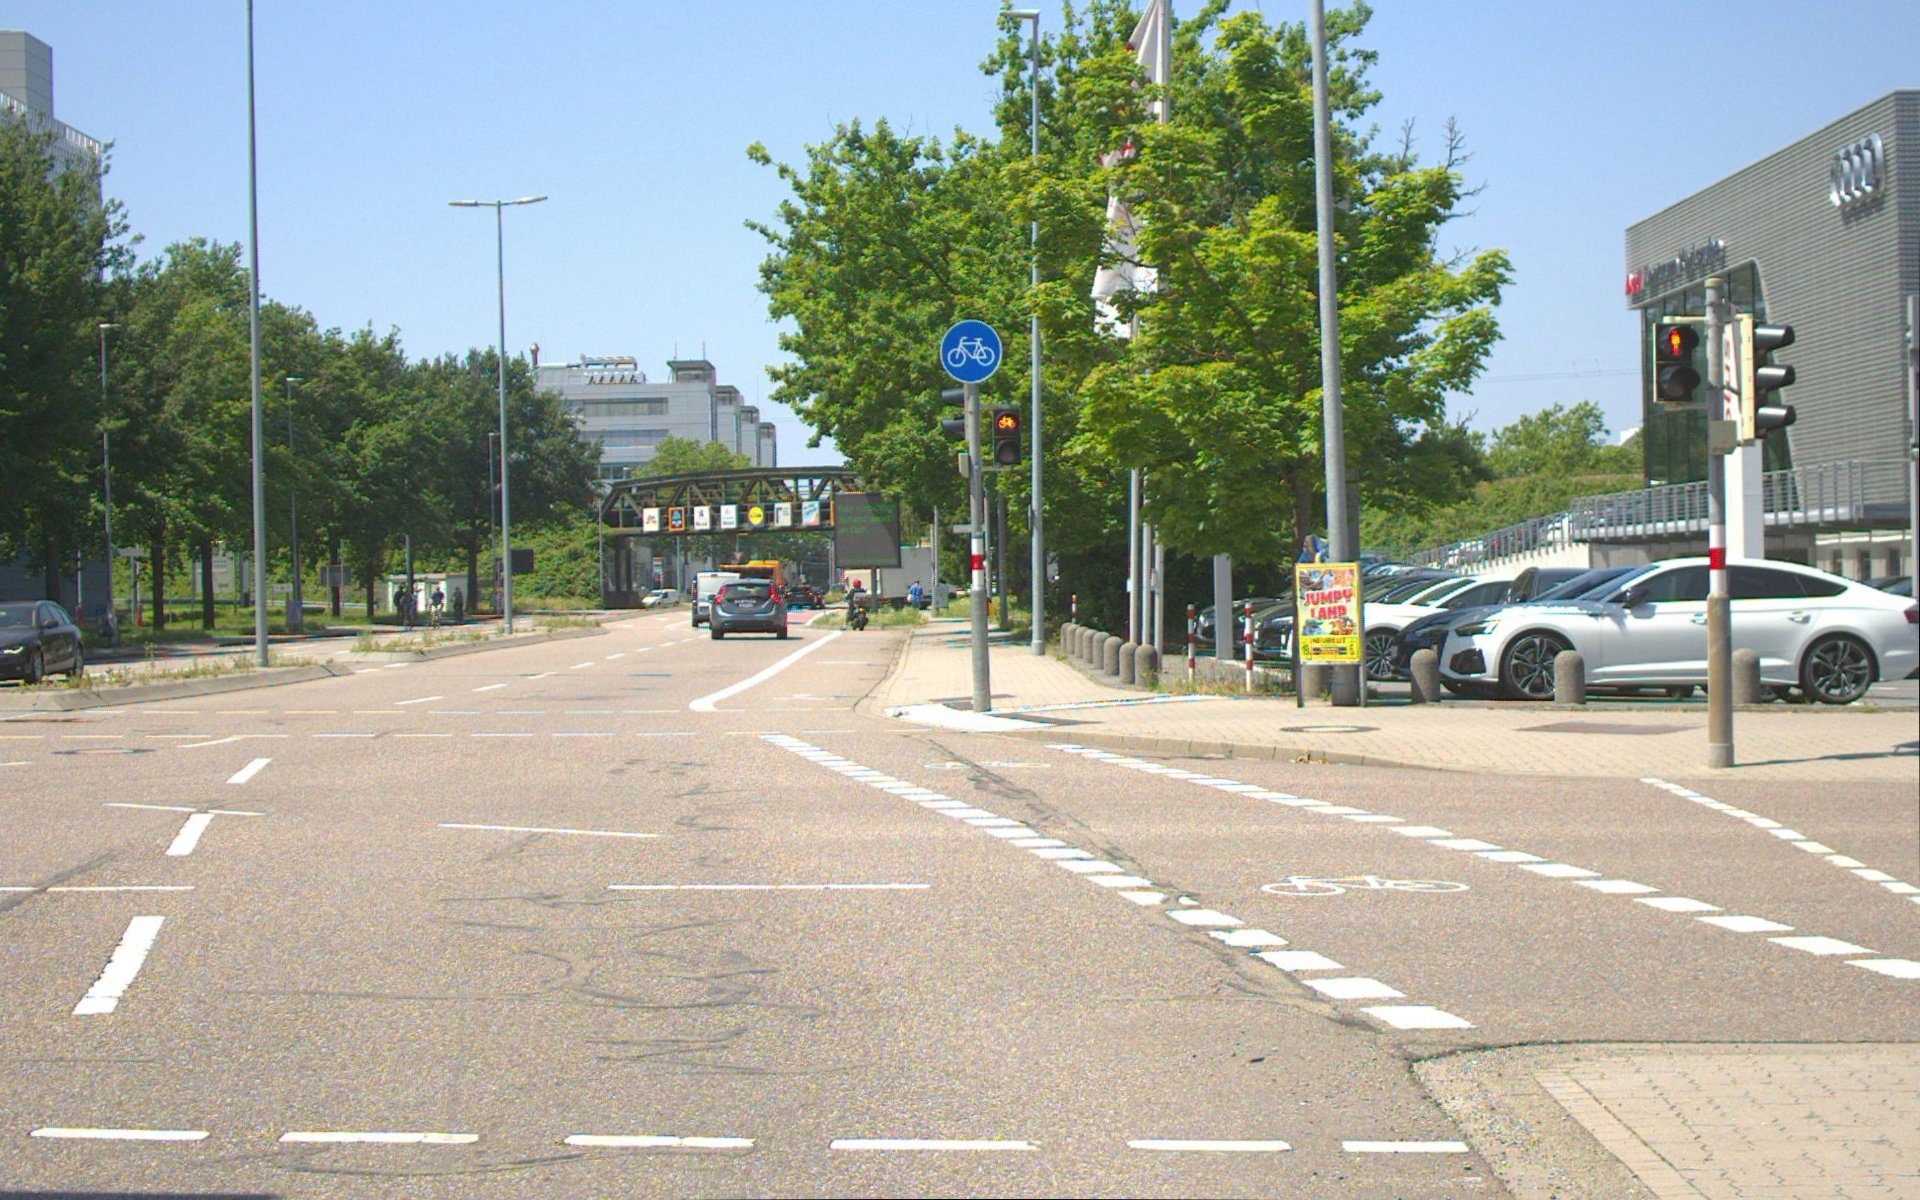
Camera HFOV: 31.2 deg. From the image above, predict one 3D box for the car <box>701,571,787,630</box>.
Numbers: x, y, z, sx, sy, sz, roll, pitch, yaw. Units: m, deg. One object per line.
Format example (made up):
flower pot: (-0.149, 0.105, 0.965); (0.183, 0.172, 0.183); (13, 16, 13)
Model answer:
car: (-5.260, -0.007, 84.194); (1.900, 1.371, 4.232); (-1, 0, -1)

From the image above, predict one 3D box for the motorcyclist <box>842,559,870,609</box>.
motorcyclist: (-3.217, -0.500, 105.992); (0.719, 1.524, 0.871); (1, 0, -10)

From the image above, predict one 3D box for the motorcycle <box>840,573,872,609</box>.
motorcycle: (-3.209, -0.277, 105.935); (0.716, 1.101, 1.831); (1, 0, -10)

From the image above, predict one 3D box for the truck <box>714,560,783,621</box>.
truck: (-8.704, -0.412, 141.861); (2.458, 2.402, 7.134); (1, 1, -1)

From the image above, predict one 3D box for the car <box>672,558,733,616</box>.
car: (-9.303, -0.470, 124.446); (1.993, 2.007, 4.000); (-1, 0, -1)

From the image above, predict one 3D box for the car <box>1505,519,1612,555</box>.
car: (21.856, -2.315, 125.637); (3.523, 1.235, 1.677); (1, 0, -5)

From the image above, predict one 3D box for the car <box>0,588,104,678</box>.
car: (-15.986, 0.569, 57.956); (1.726, 1.441, 4.719); (-3, 0, 2)

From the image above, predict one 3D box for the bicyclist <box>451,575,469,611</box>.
bicyclist: (-23.541, -0.328, 161.860); (0.633, 1.623, 1.045); (-3, 0, -1)

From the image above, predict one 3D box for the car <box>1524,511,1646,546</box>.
car: (21.983, -2.506, 121.012); (3.938, 1.207, 1.718); (0, 0, -5)

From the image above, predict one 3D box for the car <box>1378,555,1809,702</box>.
car: (6.521, 0.284, 35.695); (4.096, 1.385, 1.869); (1, 0, 0)

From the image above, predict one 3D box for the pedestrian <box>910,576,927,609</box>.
pedestrian: (-1.693, -0.307, 140.227); (0.623, 1.370, 0.564); (-1, 0, -2)

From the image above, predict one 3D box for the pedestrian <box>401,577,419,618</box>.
pedestrian: (-25.843, -0.120, 161.595); (0.743, 1.878, 0.577); (-1, 0, 0)

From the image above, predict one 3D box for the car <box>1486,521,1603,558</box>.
car: (21.979, -2.267, 129.307); (3.986, 1.307, 1.798); (1, 0, -5)

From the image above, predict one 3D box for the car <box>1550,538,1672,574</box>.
car: (21.906, -1.475, 115.785); (3.724, 1.127, 1.684); (1, 0, -5)

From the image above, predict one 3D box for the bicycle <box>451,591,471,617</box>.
bicycle: (-23.517, 0.173, 161.937); (0.629, 1.155, 2.117); (-3, 0, -1)

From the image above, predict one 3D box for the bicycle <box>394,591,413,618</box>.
bicycle: (-23.828, 0.193, 147.279); (0.637, 1.130, 1.971); (-1, 0, -4)

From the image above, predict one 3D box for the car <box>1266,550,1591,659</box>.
car: (6.293, 0.050, 46.479); (4.099, 1.344, 1.869); (1, 0, 0)

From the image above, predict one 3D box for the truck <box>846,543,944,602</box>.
truck: (-3.180, -1.368, 170.007); (2.619, 2.841, 5.607); (1, 1, 25)

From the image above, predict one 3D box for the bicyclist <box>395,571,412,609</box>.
bicyclist: (-23.848, -0.426, 147.277); (0.637, 1.577, 0.884); (-1, 0, -4)

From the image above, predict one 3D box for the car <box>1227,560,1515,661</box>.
car: (6.204, 0.154, 52.191); (4.101, 1.400, 1.869); (1, 0, 0)

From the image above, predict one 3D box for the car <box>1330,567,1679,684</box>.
car: (6.872, 0.310, 43.694); (4.096, 1.360, 1.874); (1, 0, 0)

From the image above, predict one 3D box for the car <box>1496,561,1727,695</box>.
car: (7.466, 0.290, 39.830); (1.863, 1.415, 4.662); (1, 0, 1)

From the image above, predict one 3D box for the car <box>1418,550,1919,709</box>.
car: (6.846, 0.275, 33.268); (4.592, 1.385, 1.869); (1, 0, 2)

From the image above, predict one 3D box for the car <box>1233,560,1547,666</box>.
car: (6.119, 0.178, 49.301); (4.226, 1.385, 1.869); (1, 0, 0)

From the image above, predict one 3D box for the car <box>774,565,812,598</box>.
car: (-10.578, -1.161, 217.513); (1.994, 2.007, 4.000); (-2, 0, 2)

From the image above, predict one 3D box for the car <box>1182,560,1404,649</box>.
car: (5.819, 0.074, 60.343); (3.681, 1.448, 1.834); (1, 0, 0)

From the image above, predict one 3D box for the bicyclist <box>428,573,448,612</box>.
bicyclist: (-22.798, -0.337, 150.189); (0.745, 1.680, 0.952); (-1, 0, -2)
